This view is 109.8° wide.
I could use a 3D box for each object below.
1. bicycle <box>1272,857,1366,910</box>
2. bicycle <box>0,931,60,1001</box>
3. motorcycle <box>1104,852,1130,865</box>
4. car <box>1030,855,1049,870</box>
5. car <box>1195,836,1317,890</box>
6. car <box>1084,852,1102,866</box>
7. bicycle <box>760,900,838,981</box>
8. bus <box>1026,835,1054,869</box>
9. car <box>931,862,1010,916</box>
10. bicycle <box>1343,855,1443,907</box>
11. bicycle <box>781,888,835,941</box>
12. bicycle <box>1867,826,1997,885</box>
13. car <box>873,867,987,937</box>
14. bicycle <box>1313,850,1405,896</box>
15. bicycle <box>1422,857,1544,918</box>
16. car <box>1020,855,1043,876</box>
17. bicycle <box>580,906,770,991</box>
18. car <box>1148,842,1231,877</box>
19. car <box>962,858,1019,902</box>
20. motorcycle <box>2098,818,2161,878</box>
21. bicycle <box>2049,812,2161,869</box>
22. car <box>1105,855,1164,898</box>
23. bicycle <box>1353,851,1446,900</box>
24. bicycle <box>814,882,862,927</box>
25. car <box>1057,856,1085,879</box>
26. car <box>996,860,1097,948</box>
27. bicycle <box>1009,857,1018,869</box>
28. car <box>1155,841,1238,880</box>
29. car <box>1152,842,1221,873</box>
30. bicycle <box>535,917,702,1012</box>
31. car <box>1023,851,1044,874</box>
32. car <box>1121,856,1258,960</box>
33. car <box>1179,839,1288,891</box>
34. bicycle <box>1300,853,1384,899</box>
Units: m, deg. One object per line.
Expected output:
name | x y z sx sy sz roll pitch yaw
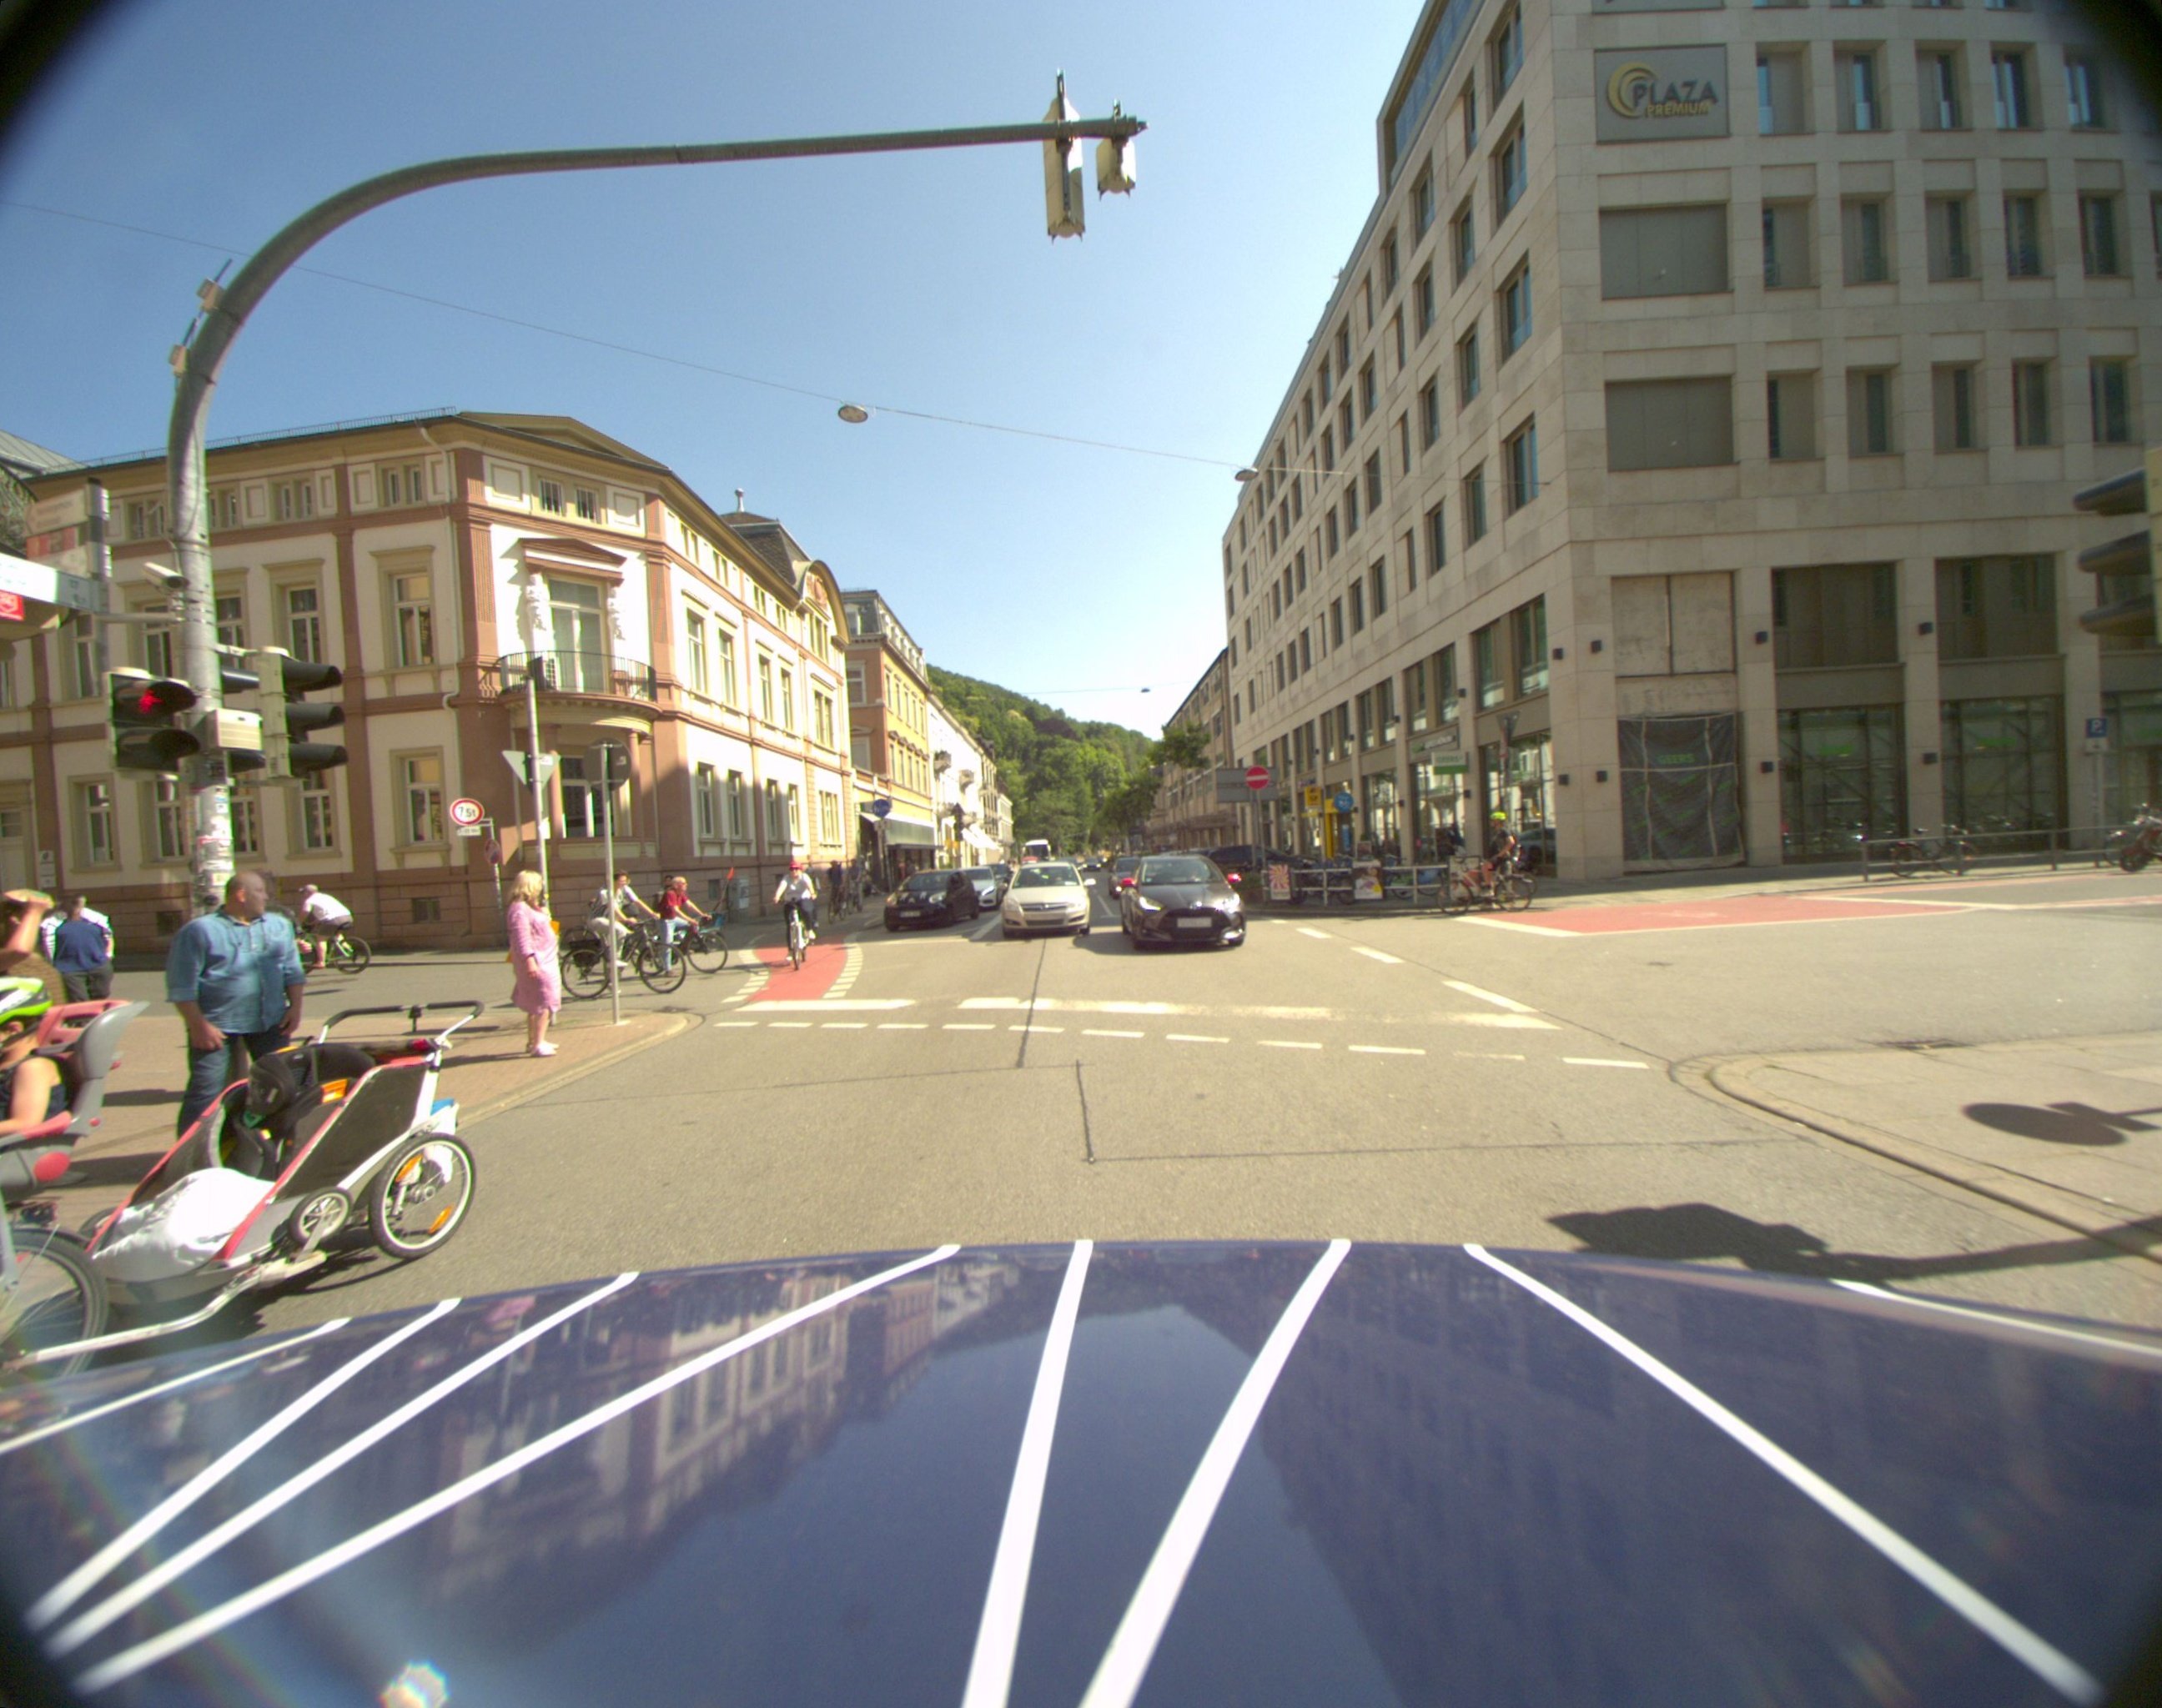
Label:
bicycle | 5.710 0.716 18.328 2.059 1.166 0.606 -3 2 45
bicycle | -19.480 1.993 13.286 2.570 1.120 0.773 -3 0 8
motorcycle | 4.096 0.551 87.363 0.980 1.342 3.095 -3 1 -43
car | -4.200 0.841 77.562 1.869 1.479 4.413 -3 0 -3
car | 6.520 0.331 28.208 4.026 1.593 1.961 -5 2 23
car | 1.169 0.493 77.429 1.734 1.389 4.106 -3 0 0
bicycle | -4.703 1.411 12.828 0.737 1.120 2.032 -3 0 -7
bus | -4.666 -0.265 88.434 2.924 3.516 12.496 -2 1 -2
car | -3.619 1.109 25.698 1.957 1.416 4.885 -5 0 -1
bicycle | 7.313 0.631 17.866 2.059 1.162 0.606 -2 2 36
bicycle | -6.860 1.499 19.208 0.607 1.121 1.859 -1 3 1
bicycle | 18.222 0.028 16.298 2.063 1.121 0.639 -3 4 0
car | -3.805 1.175 19.766 1.632 1.470 3.733 -4 0 9
bicycle | 7.855 0.536 21.514 2.324 1.120 0.563 -5 1 24
bicycle | 8.104 0.675 15.411 1.991 1.120 0.799 -3 0 7
car | -4.303 0.962 66.836 1.799 1.516 4.262 -6 1 -3
bicycle | -6.423 1.487 12.114 2.572 1.120 0.628 -3 2 -4
car | 6.514 0.345 45.621 4.493 1.424 1.865 -8 0 19
car | -3.836 1.072 32.969 1.891 1.483 4.289 -5 1 -1
motorcycle | 21.596 -0.138 14.773 0.658 1.166 2.061 -1 -2 -27
bicycle | 22.187 -0.298 16.388 2.063 1.121 0.454 -3 5 -2
car | 1.893 0.767 28.069 1.734 1.389 4.106 -3 0 -1
bicycle | 7.956 0.543 19.010 2.059 1.120 0.648 -3 0 26
bicycle | -6.971 1.431 21.910 0.664 1.111 1.992 -2 0 1
car | -0.654 0.901 50.843 1.775 1.469 4.106 -1 -1 -1
car | -0.732 0.939 16.228 1.791 1.484 4.366 -3 0 -3
bicycle | -6.632 0.857 74.773 0.596 1.121 2.093 -1 2 1
car | 6.389 0.341 42.114 4.029 1.584 1.822 -8 0 32
car | 6.698 0.215 48.613 3.997 1.519 1.819 -6 2 -1
bicycle | -6.327 1.503 10.446 1.844 1.120 0.666 -3 2 4
car | -4.514 0.838 72.544 1.703 1.901 4.606 -7 0 -3
car | 1.692 0.814 13.176 1.868 1.469 4.107 -2 -1 2
car | 6.271 0.423 31.617 4.166 1.627 2.103 -7 1 8
bicycle | 7.188 0.619 20.967 2.060 1.120 0.563 -5 0 24
